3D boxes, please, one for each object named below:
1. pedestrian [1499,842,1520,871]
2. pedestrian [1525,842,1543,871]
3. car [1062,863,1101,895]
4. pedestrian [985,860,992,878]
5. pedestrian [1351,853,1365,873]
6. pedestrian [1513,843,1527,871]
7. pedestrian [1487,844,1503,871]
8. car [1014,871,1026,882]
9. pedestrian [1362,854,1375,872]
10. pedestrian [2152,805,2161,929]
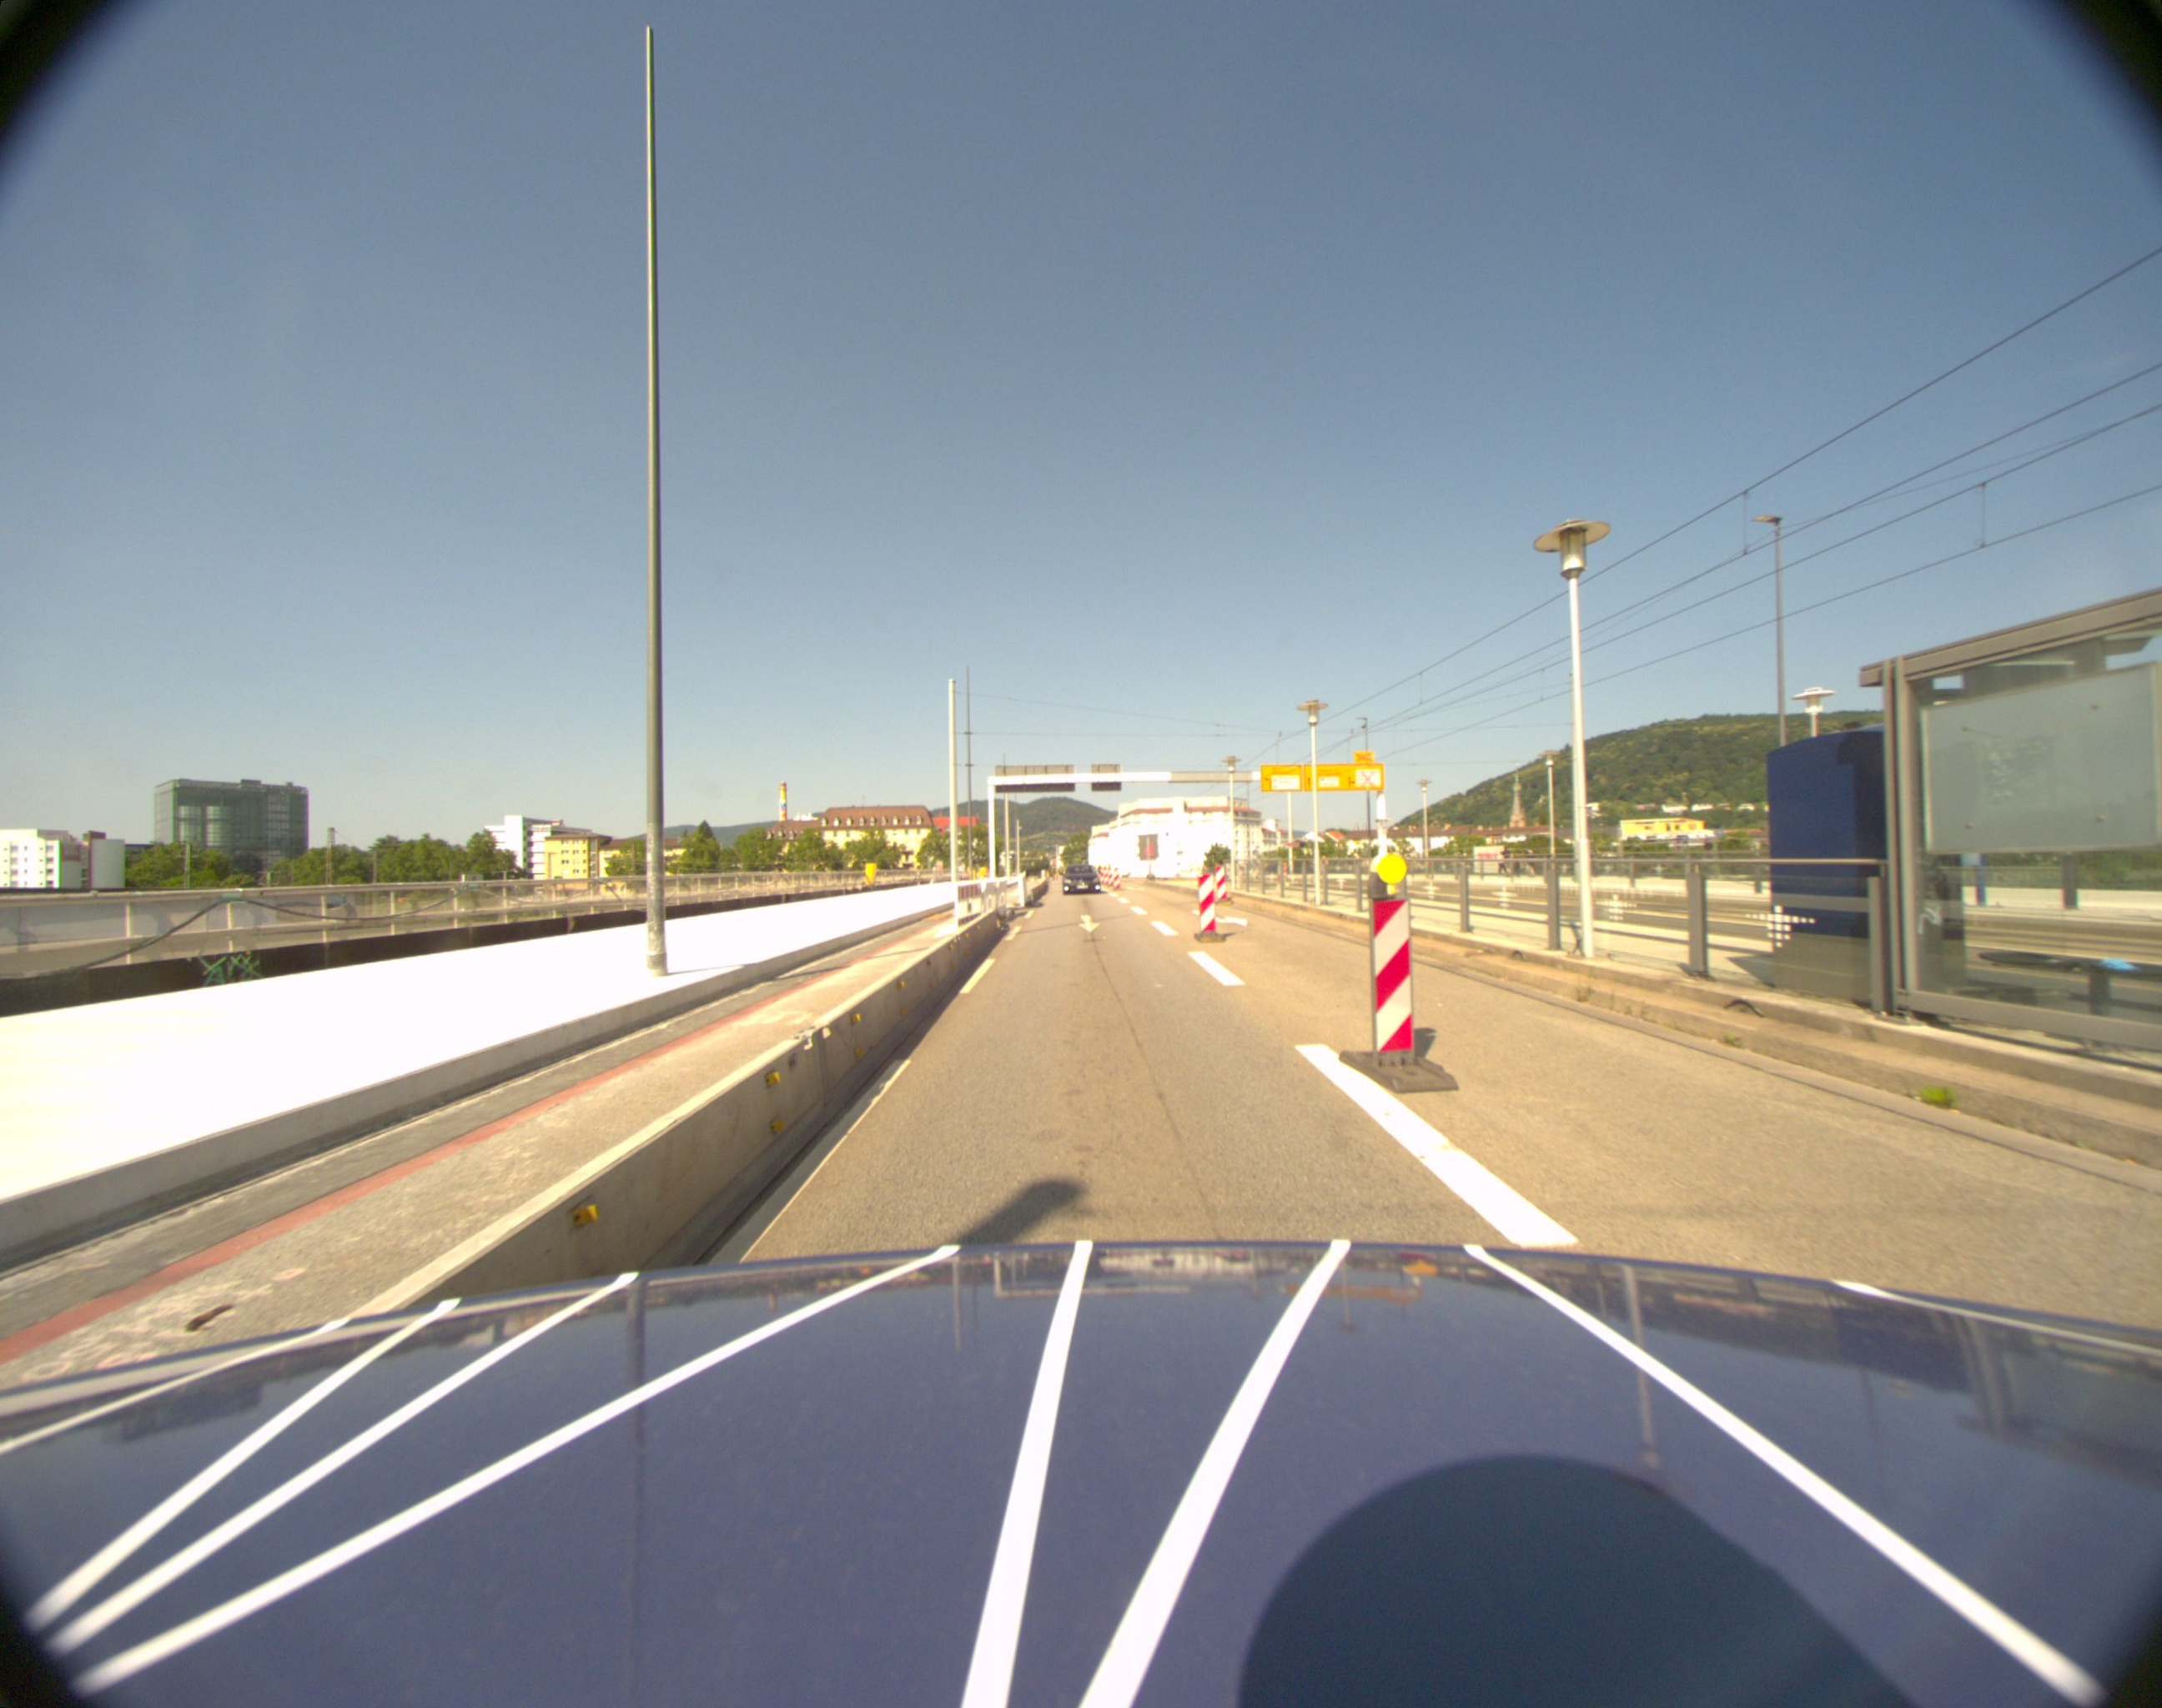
[{"bbox_3d":[25.251,0.165,44.763,0.754,1.677,0.732,-1,-1,0],"label":"pedestrian"},{"bbox_3d":[26.293,0.151,44.096,0.505,1.677,0.773,-1,-1,0],"label":"pedestrian"},{"bbox_3d":[0.006,1.166,36.916,1.698,1.388,4.363,-3,-1,-1],"label":"car"},{"bbox_3d":[-10.389,1.684,85.043,0.733,1.953,1.016,0,-1,-3],"label":"pedestrian"},{"bbox_3d":[24.394,0.801,66.906,0.746,1.631,0.895,-4,-1,-4],"label":"pedestrian"},{"bbox_3d":[26.051,0.191,45.092,0.384,1.677,0.770,-1,-1,0],"label":"pedestrian"},{"bbox_3d":[25.234,0.221,46.326,0.487,1.677,0.808,-1,-1,0],"label":"pedestrian"},{"bbox_3d":[-12.073,4.423,150.575,1.938,2.077,6.471,-2,-2,-2],"label":"car"},{"bbox_3d":[25.278,0.833,66.845,0.721,1.535,0.889,-4,-1,-4],"label":"pedestrian"},{"bbox_3d":[14.575,0.161,9.718,0.661,1.644,0.740,-1,0,11],"label":"pedestrian"}]
